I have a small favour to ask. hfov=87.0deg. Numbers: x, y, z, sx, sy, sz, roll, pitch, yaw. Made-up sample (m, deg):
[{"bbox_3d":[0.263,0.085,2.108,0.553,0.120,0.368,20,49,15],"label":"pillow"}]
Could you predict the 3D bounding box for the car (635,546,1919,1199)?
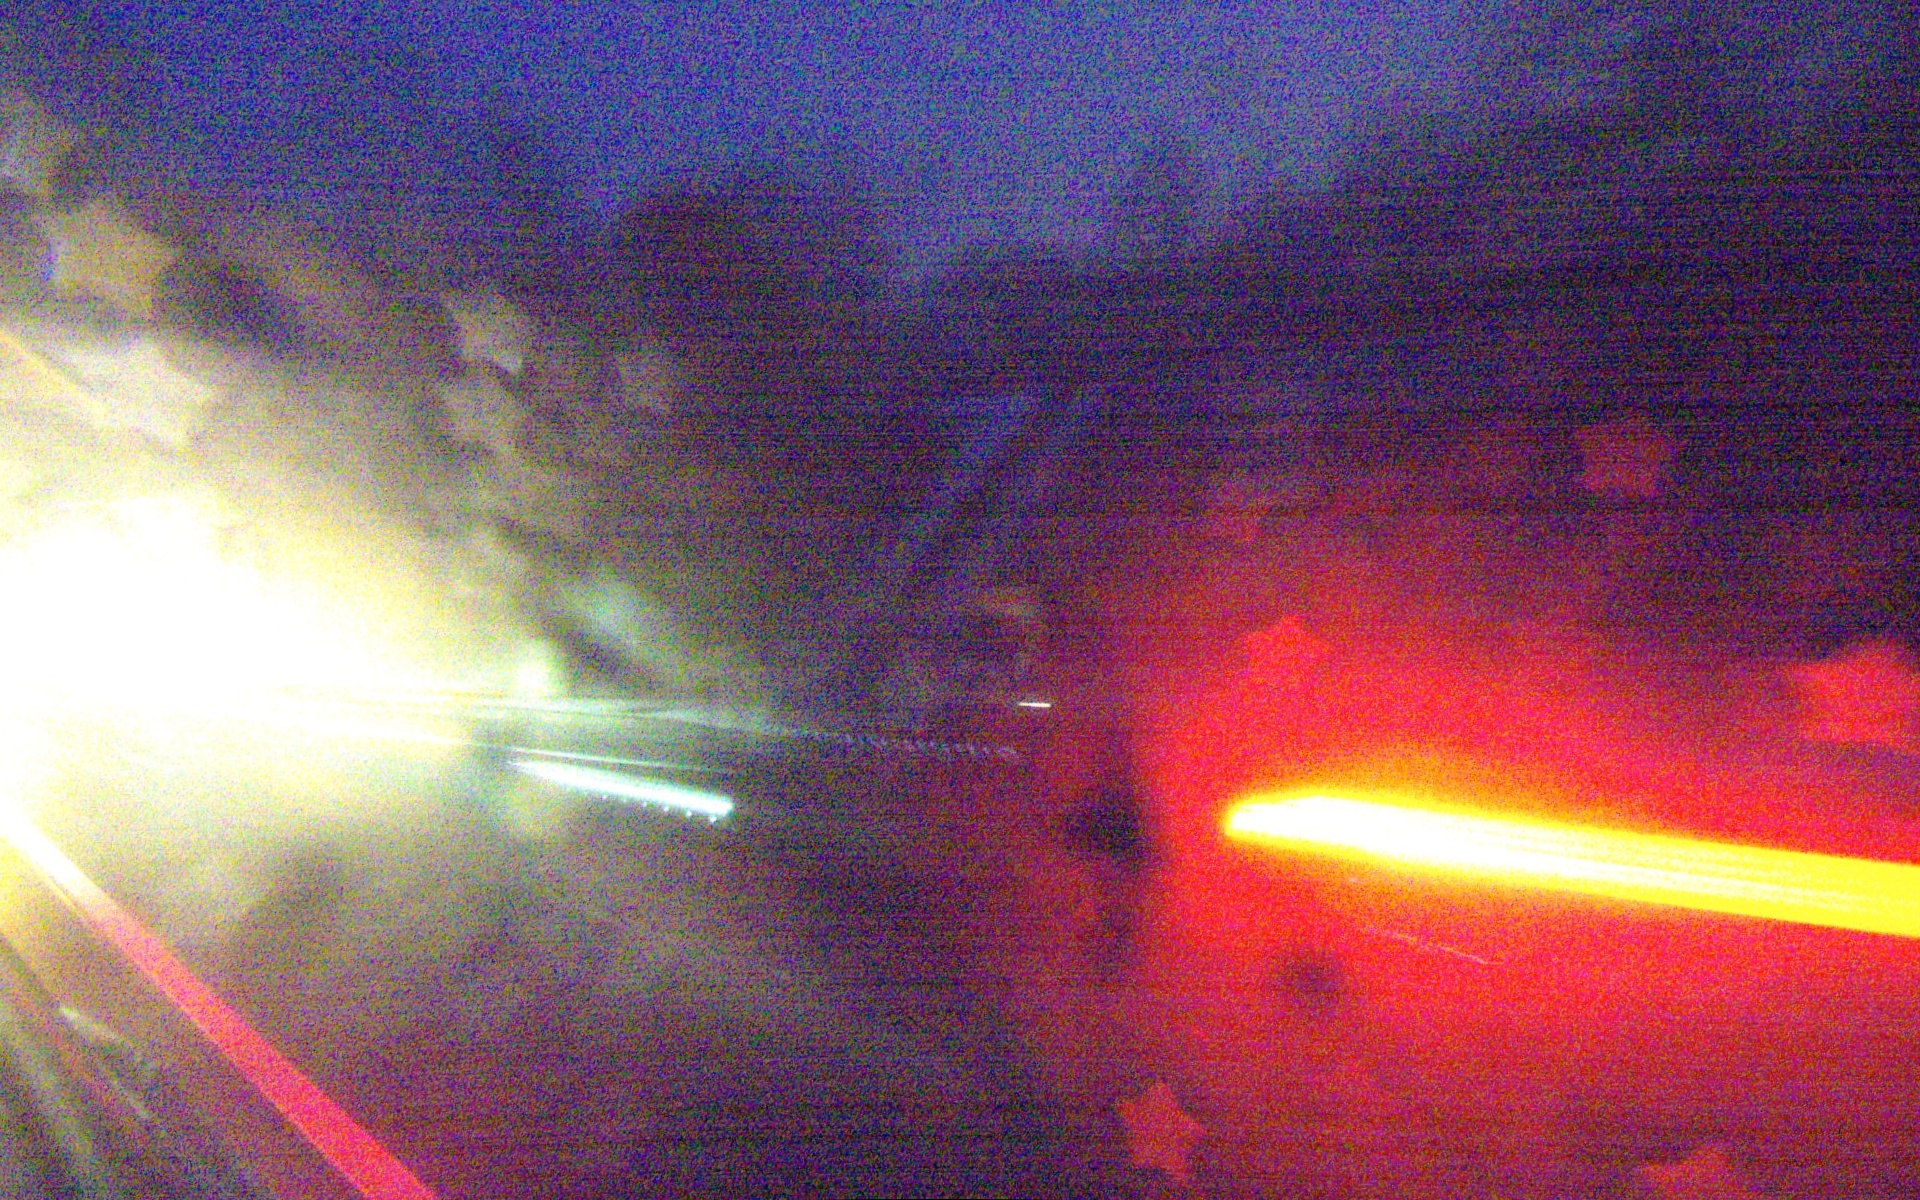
[{"bbox_3d":[0.972,0.663,3.424,4.272,1.485,1.973,-1,0,40],"label":"car"}]
